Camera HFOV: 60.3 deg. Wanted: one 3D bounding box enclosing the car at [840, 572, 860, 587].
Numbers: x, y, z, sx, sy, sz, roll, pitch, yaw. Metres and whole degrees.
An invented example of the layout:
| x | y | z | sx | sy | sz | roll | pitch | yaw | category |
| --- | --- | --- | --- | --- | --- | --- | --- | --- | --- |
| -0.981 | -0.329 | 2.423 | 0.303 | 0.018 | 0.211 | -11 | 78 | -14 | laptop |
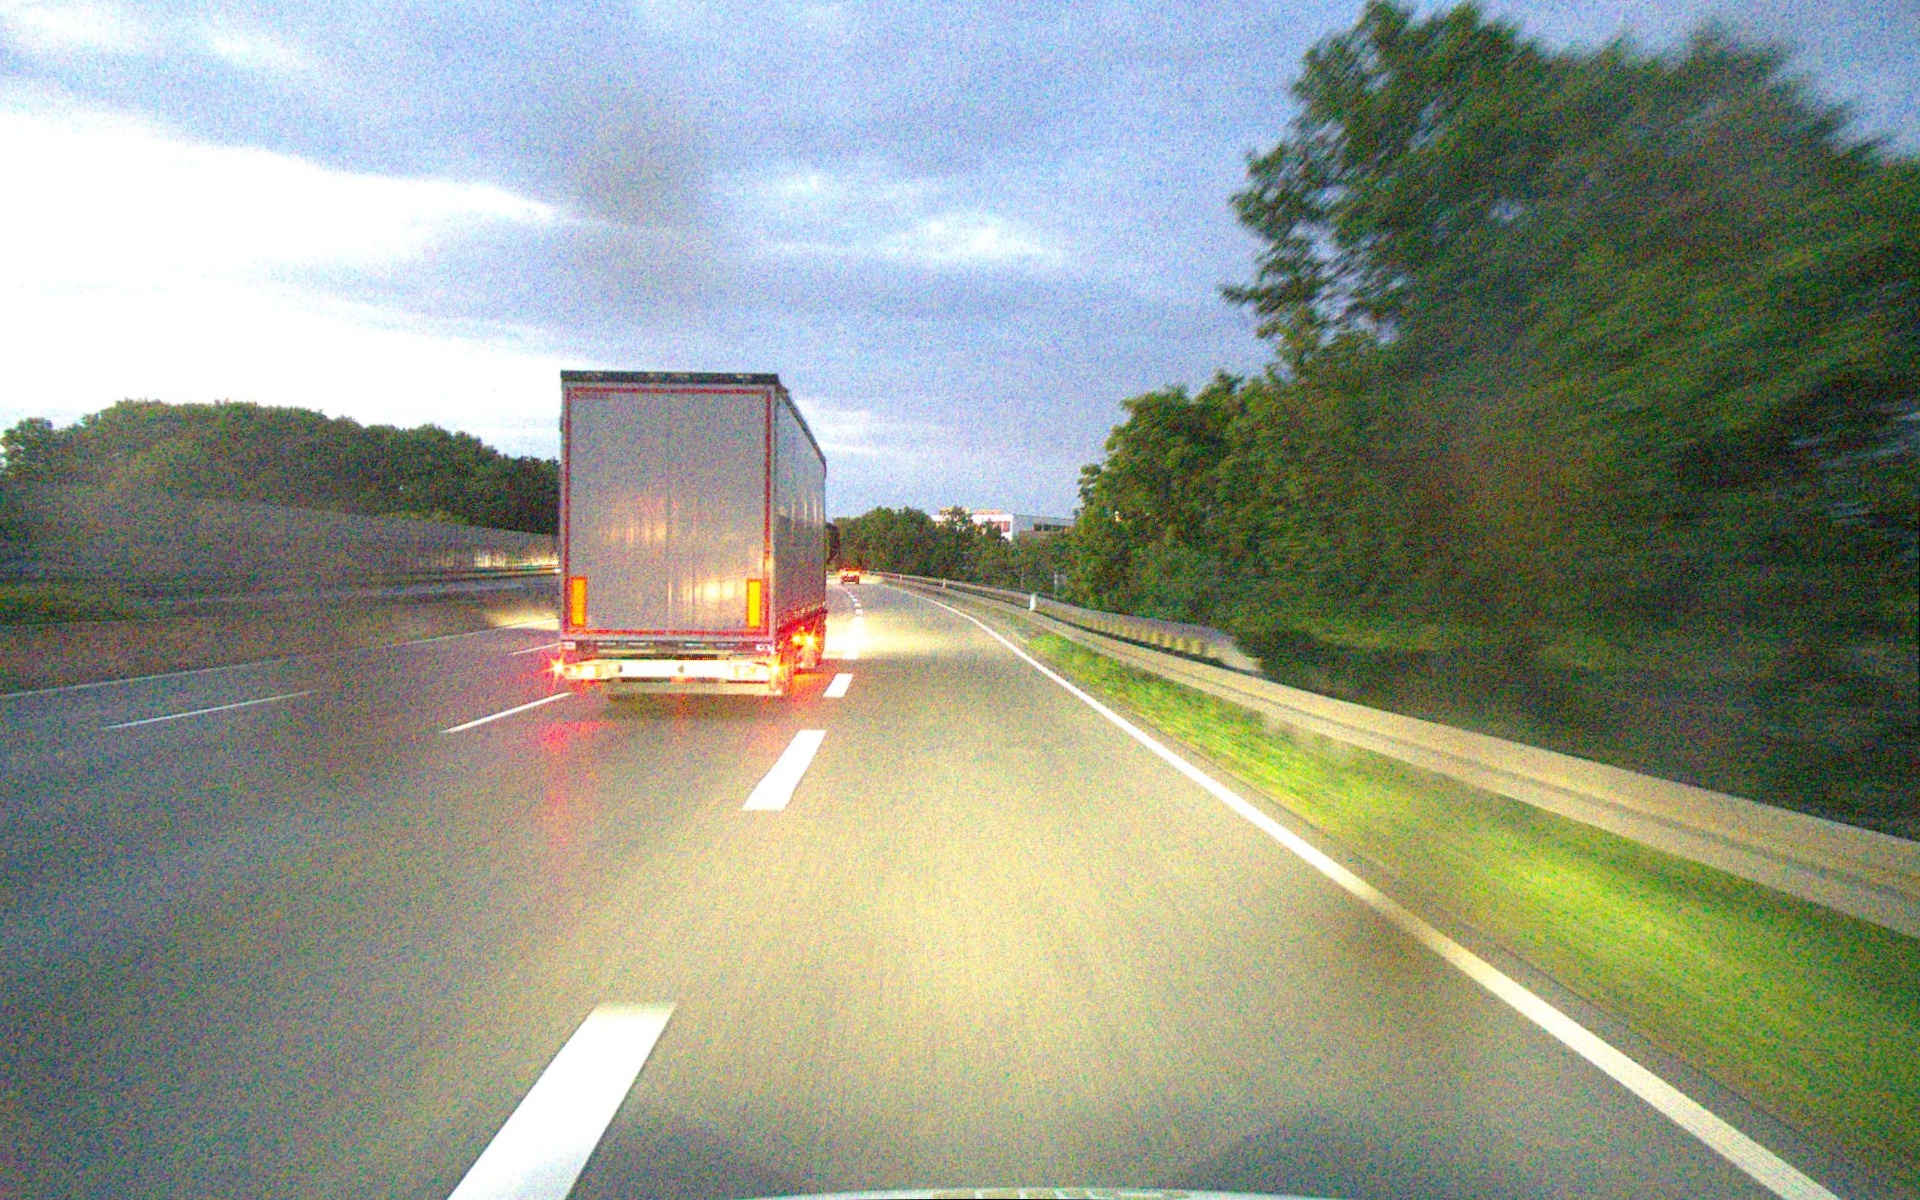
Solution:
| x | y | z | sx | sy | sz | roll | pitch | yaw | category |
| --- | --- | --- | --- | --- | --- | --- | --- | --- | --- |
| -11.460 | -2.139 | 171.894 | 1.955 | 1.378 | 3.994 | 2 | -2 | -6 | car |

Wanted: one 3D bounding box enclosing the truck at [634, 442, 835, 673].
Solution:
| x | y | z | sx | sy | sz | roll | pitch | yaw | category |
| --- | --- | --- | --- | --- | --- | --- | --- | --- | --- |
| -4.333 | -0.778 | 33.164 | 3.480 | 4.162 | 6.147 | 0 | 0 | -3 | truck |

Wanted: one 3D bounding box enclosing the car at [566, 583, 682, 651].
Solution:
| x | y | z | sx | sy | sz | roll | pitch | yaw | category |
| --- | --- | --- | --- | --- | --- | --- | --- | --- | --- |
| -8.753 | 0.491 | 43.531 | 1.867 | 1.643 | 4.804 | 1 | -2 | 2 | car |

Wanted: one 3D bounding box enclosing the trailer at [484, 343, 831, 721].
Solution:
| x | y | z | sx | sy | sz | roll | pitch | yaw | category |
| --- | --- | --- | --- | --- | --- | --- | --- | --- | --- |
| -3.953 | -0.764 | 25.981 | 3.479 | 4.188 | 15.053 | 0 | 0 | -3 | trailer |

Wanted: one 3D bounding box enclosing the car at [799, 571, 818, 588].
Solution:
| x | y | z | sx | sy | sz | roll | pitch | yaw | category |
| --- | --- | --- | --- | --- | --- | --- | --- | --- | --- |
| -14.874 | -1.991 | 162.206 | 1.848 | 1.378 | 3.994 | 2 | -2 | -6 | car |
